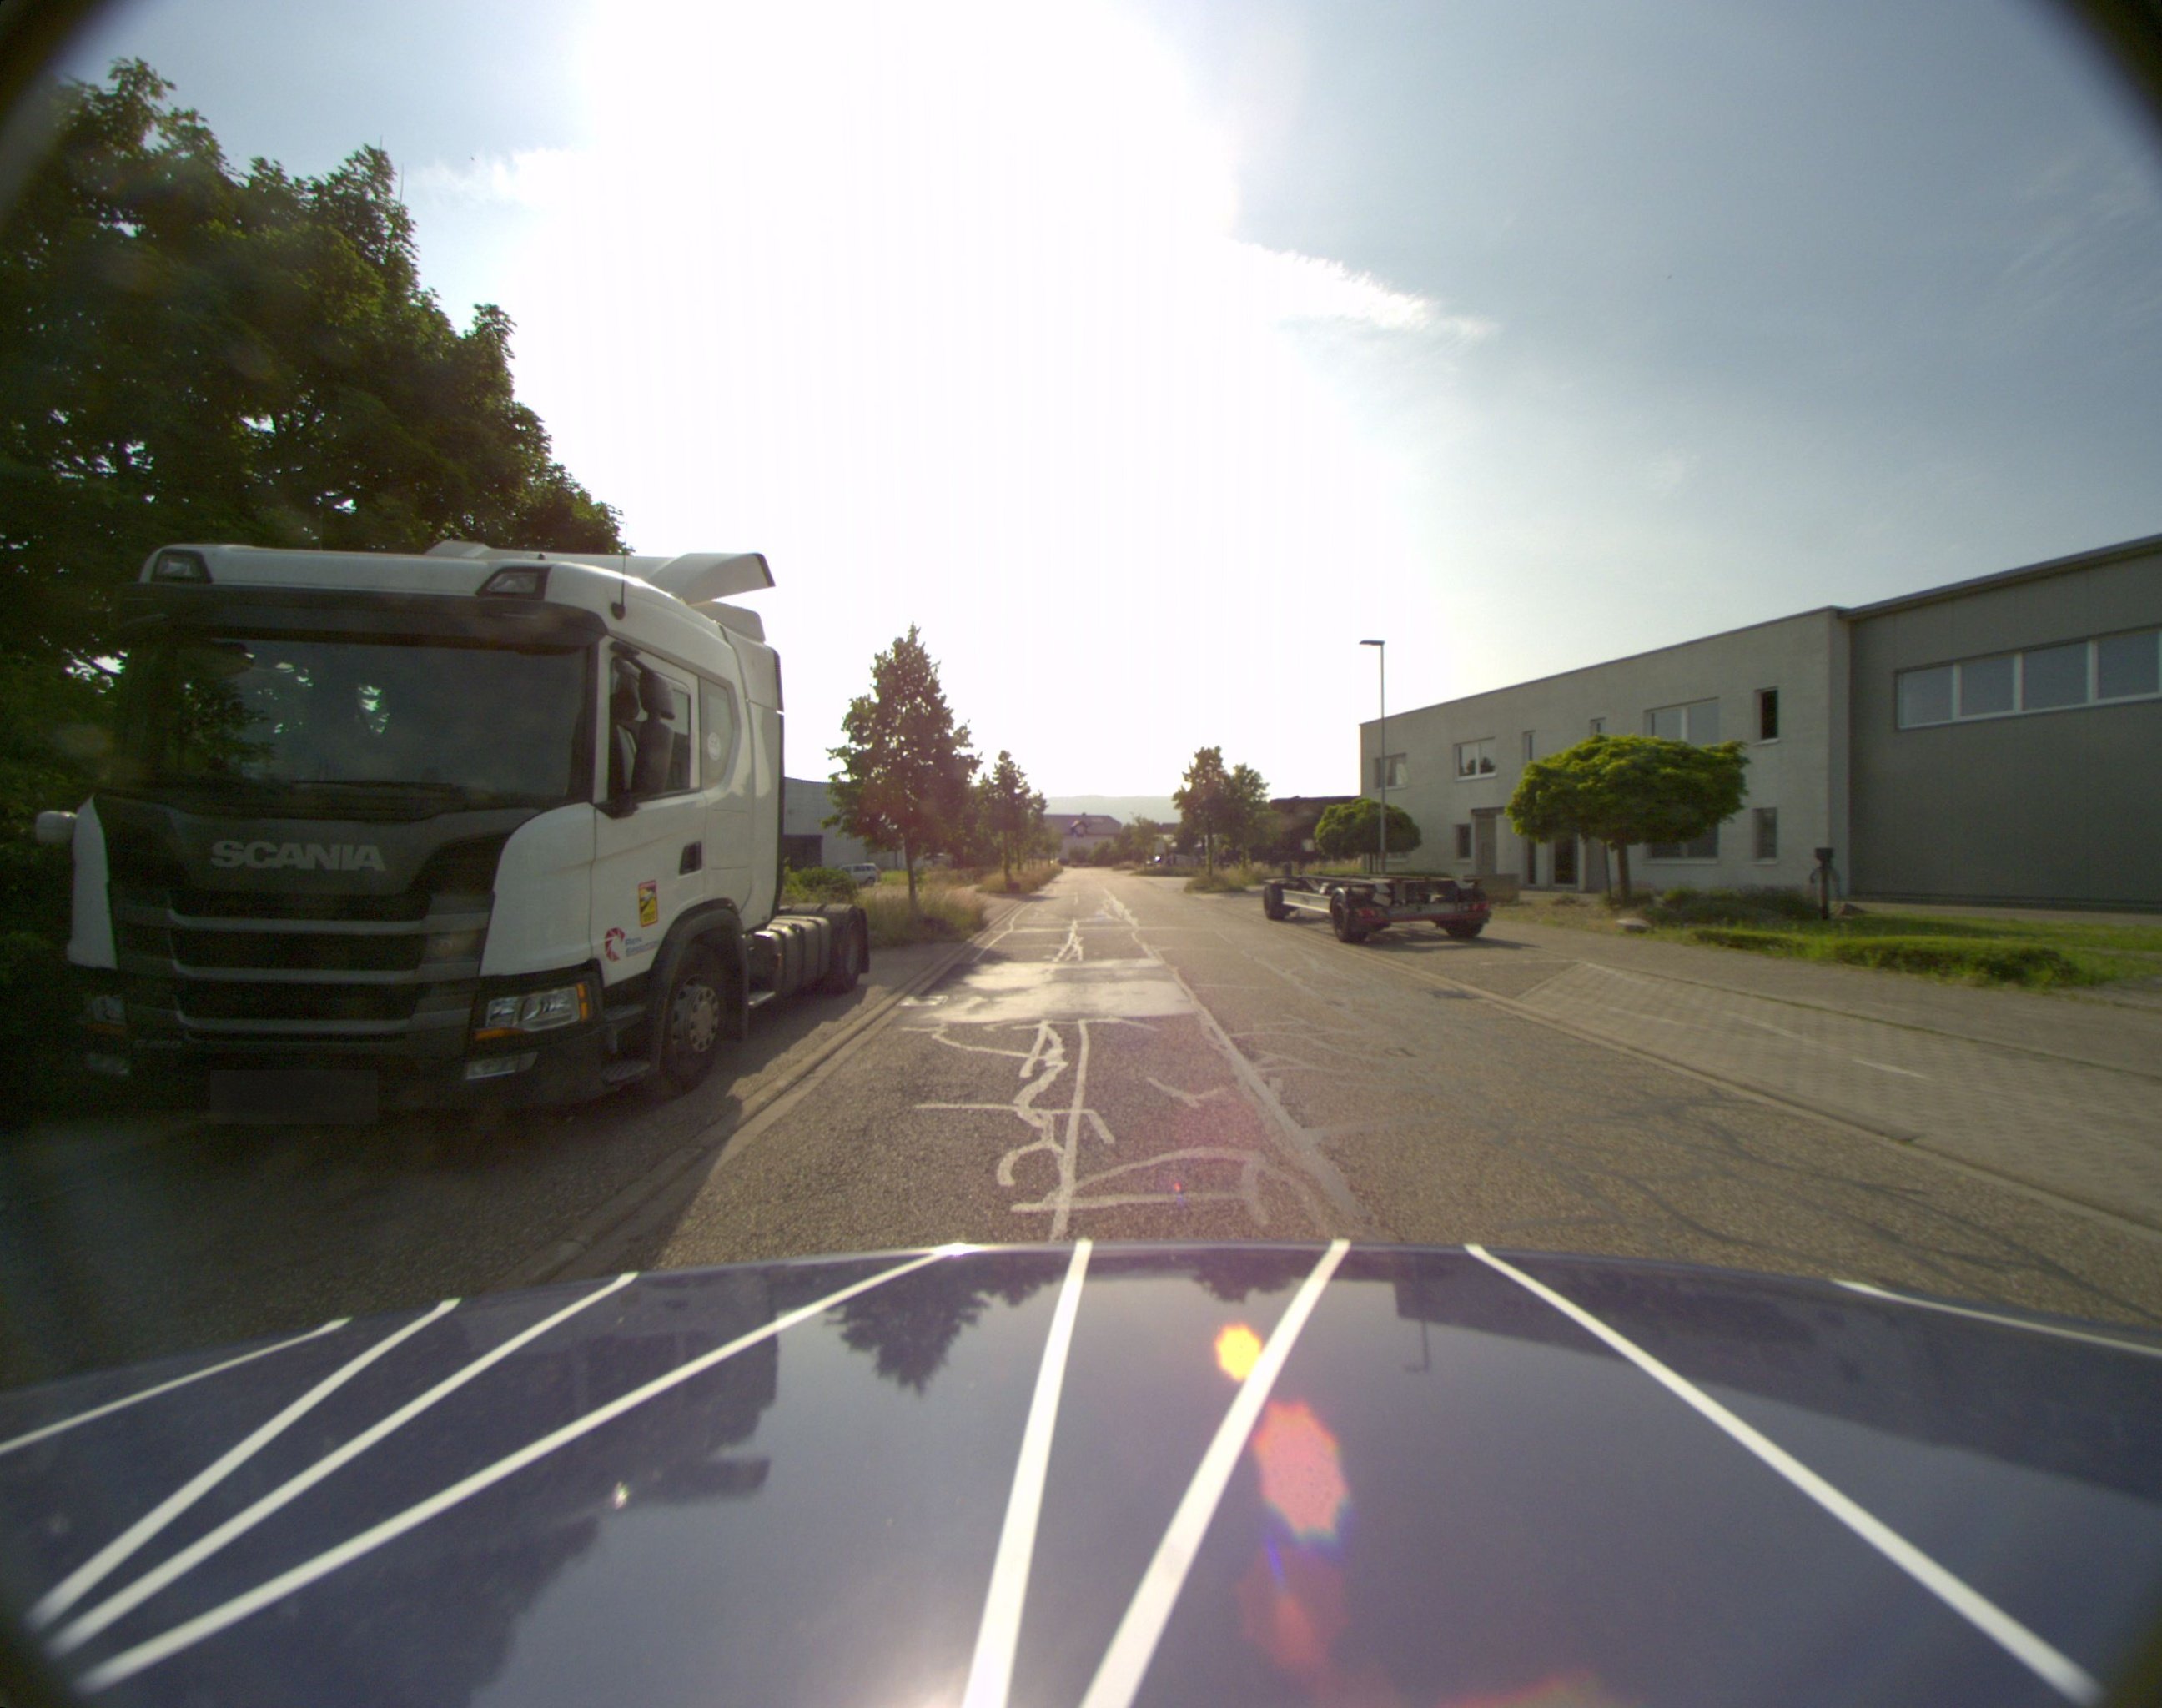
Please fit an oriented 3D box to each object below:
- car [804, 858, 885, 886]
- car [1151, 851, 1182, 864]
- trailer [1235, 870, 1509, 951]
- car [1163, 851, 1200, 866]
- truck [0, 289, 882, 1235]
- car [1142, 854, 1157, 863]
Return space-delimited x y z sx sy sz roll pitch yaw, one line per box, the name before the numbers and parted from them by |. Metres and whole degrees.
car | -14.538 1.095 46.824 4.369 1.554 1.753 0 3 -43
car | 12.443 0.517 110.515 4.004 1.783 1.996 -1 0 -21
trailer | 5.817 1.039 17.473 2.552 1.068 9.731 -2 0 0
car | 11.569 0.521 87.641 3.997 1.718 2.000 -1 0 1
truck | -3.745 -0.363 6.243 2.699 3.941 6.046 2 0 -2
car | 10.687 0.677 119.439 1.615 1.472 3.548 -1 0 -7
